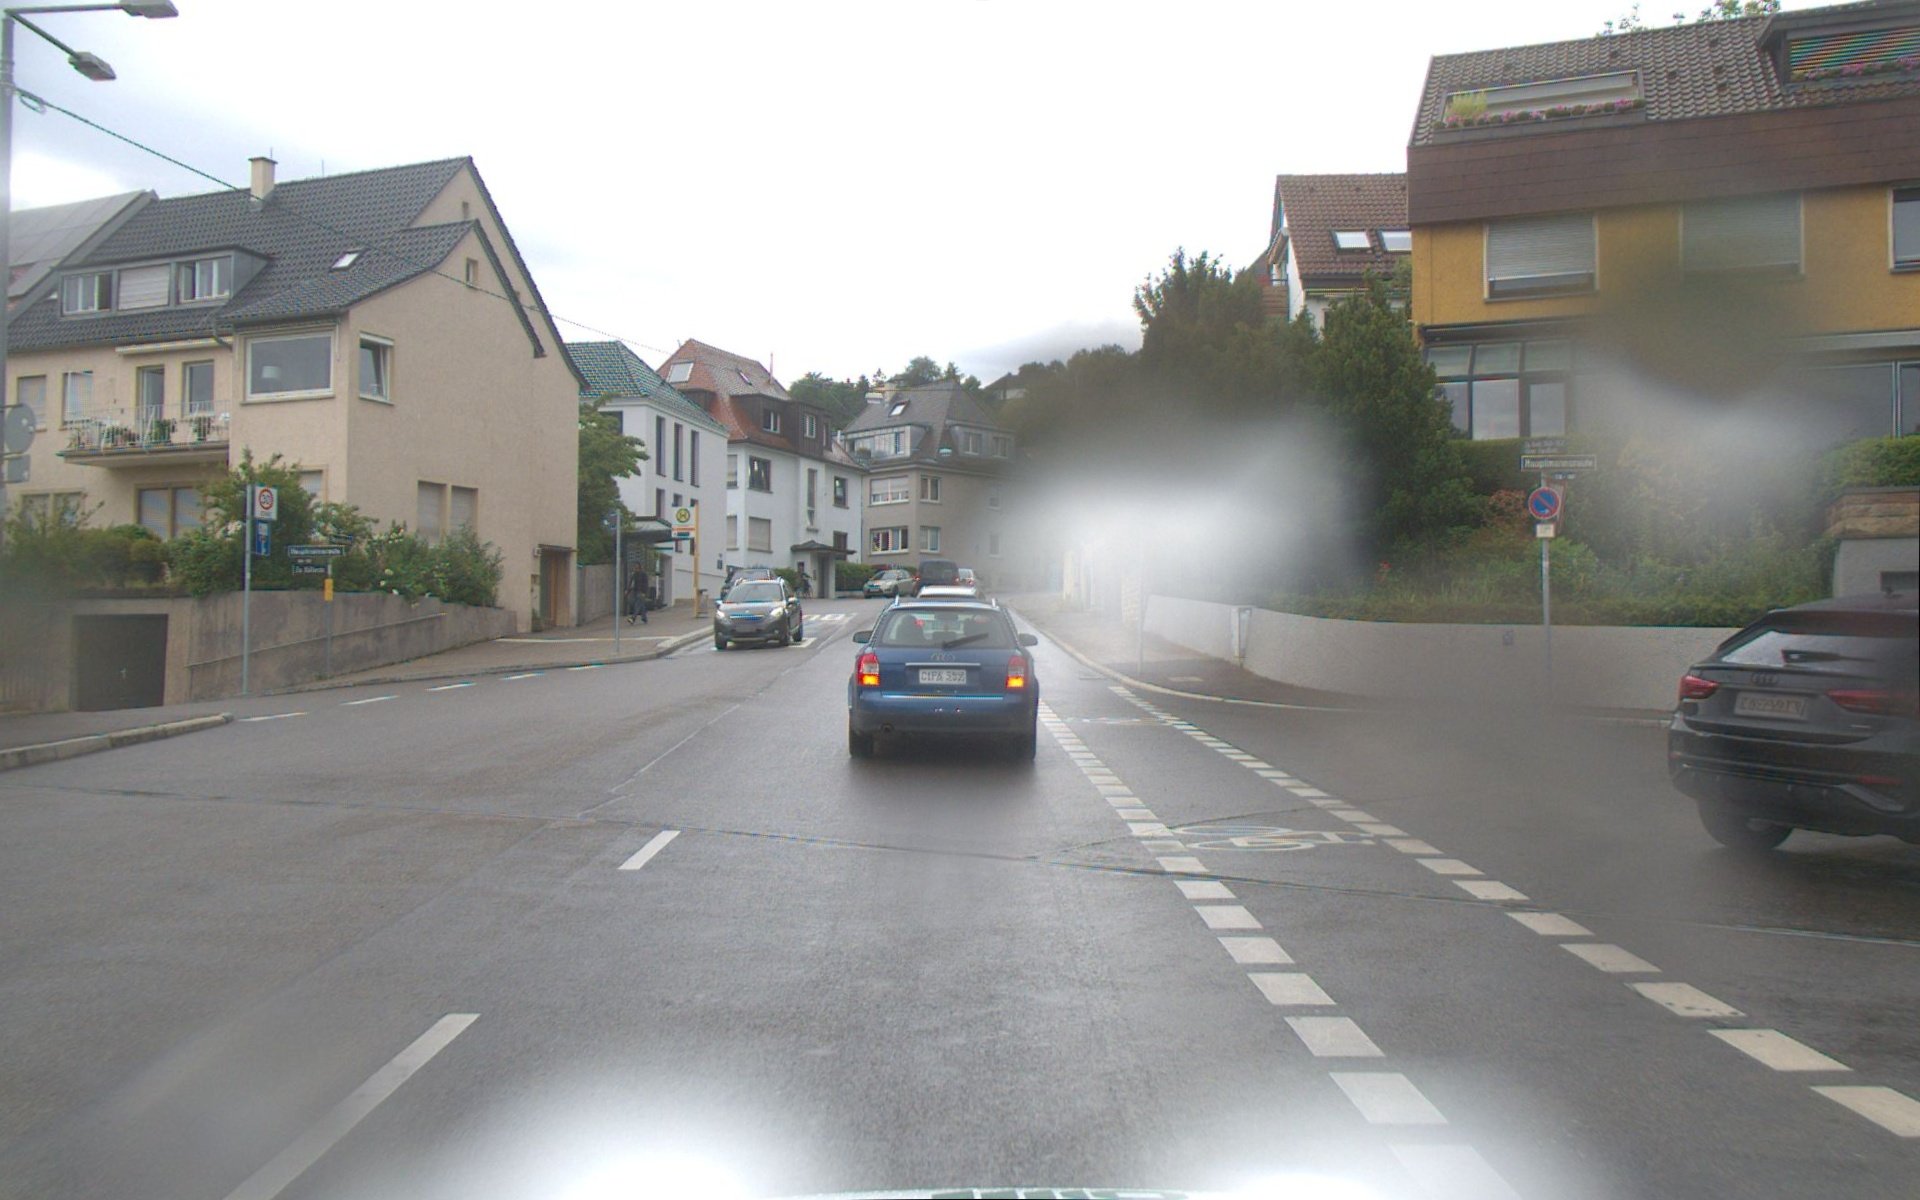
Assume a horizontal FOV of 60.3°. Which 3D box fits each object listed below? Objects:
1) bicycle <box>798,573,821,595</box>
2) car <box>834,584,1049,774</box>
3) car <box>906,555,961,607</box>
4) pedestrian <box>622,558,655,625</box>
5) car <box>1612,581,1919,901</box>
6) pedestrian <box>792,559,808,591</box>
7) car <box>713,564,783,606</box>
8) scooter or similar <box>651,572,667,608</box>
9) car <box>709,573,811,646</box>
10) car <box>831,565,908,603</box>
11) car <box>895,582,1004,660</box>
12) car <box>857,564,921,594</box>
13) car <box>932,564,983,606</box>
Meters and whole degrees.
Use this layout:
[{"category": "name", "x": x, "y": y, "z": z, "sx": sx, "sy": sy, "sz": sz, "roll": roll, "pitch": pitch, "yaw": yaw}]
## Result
[{"category": "bicycle", "x": -7.526, "y": -0.798, "z": 82.790, "sx": 0.446, "sy": 1.085, "sz": 1.923, "roll": 0, "pitch": 1, "yaw": 18}, {"category": "car", "x": -0.161, "y": 0.649, "z": 15.949, "sx": 1.774, "sy": 1.464, "sz": 4.082, "roll": 2, "pitch": 2, "yaw": 0}, {"category": "car", "x": -0.933, "y": -0.676, "z": 58.813, "sx": 1.889, "sy": 1.735, "sz": 4.000, "roll": -1, "pitch": 1, "yaw": -1}, {"category": "pedestrian", "x": -9.281, "y": -0.248, "z": 47.770, "sx": 0.770, "sy": 1.889, "sz": 0.728, "roll": 1, "pitch": 1, "yaw": -1}, {"category": "car", "x": 6.207, "y": 0.687, "z": 9.894, "sx": 4.132, "sy": 1.549, "sz": 1.986, "roll": 0, "pitch": 1, "yaw": -24}, {"category": "pedestrian", "x": -8.007, "y": -1.244, "z": 82.848, "sx": 0.482, "sy": 1.604, "sz": 0.948, "roll": 0, "pitch": 1, "yaw": 17}, {"category": "car", "x": -7.922, "y": -0.579, "z": 62.094, "sx": 1.791, "sy": 1.511, "sz": 4.993, "roll": -1, "pitch": 1, "yaw": 2}, {"category": "scooter or similar", "x": -10.489, "y": -0.358, "z": 57.664, "sx": 0.330, "sy": 1.241, "sz": 1.123, "roll": 1, "pitch": 1, "yaw": 0}, {"category": "car", "x": -4.631, "y": 0.196, "z": 38.771, "sx": 1.697, "sy": 1.572, "sz": 4.001, "roll": -1, "pitch": 0, "yaw": 2}, {"category": "car", "x": -5.302, "y": -0.937, "z": 96.994, "sx": 3.910, "sy": 1.854, "sz": 1.998, "roll": -5, "pitch": -1, "yaw": 28}, {"category": "car", "x": -0.267, "y": 0.375, "z": 32.060, "sx": 1.776, "sy": 1.384, "sz": 3.996, "roll": 2, "pitch": 0, "yaw": -5}, {"category": "car", "x": -3.732, "y": -1.128, "z": 87.797, "sx": 1.798, "sy": 1.450, "sz": 4.230, "roll": -2, "pitch": 1, "yaw": 21}, {"category": "car", "x": -0.096, "y": -0.658, "z": 71.775, "sx": 1.887, "sy": 1.735, "sz": 4.002, "roll": -1, "pitch": 1, "yaw": 4}]
